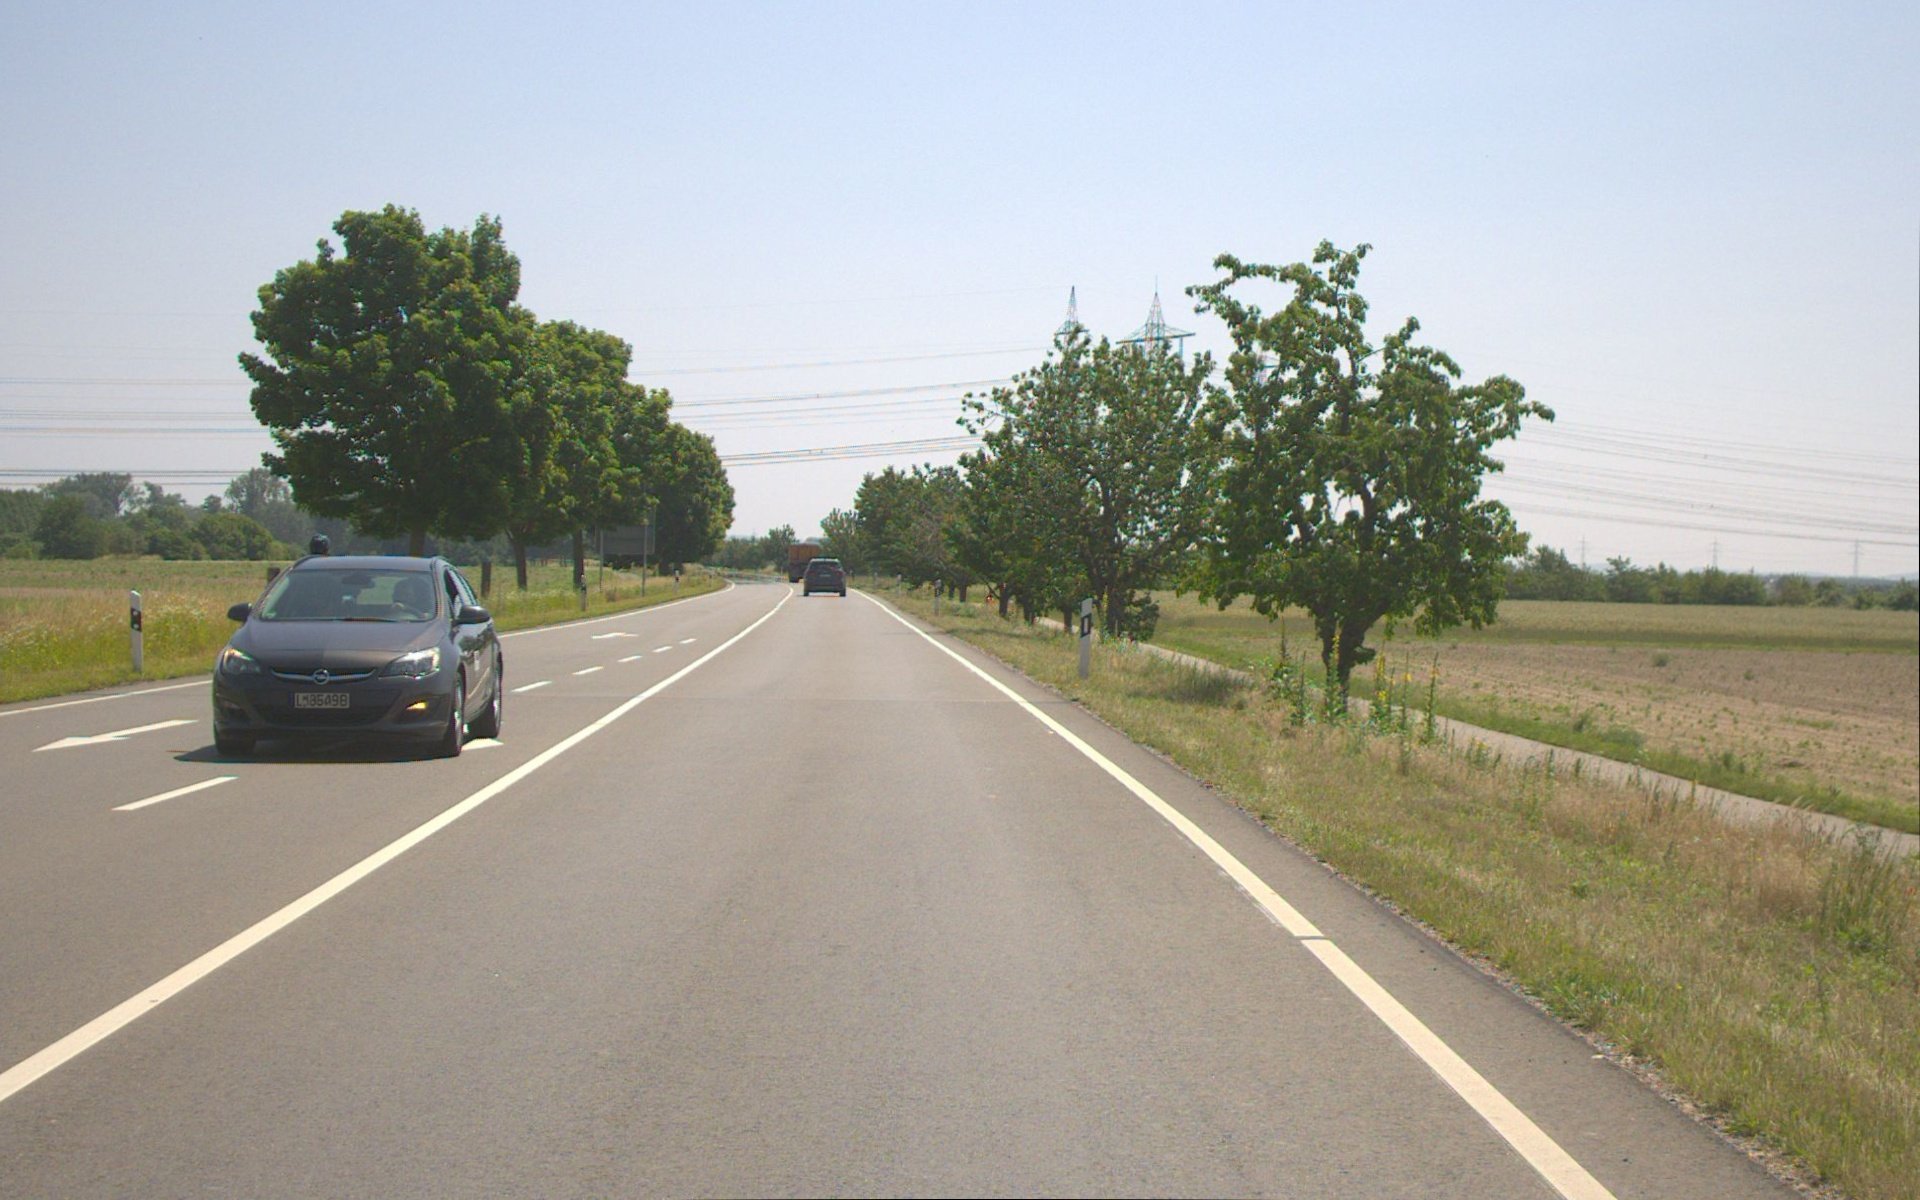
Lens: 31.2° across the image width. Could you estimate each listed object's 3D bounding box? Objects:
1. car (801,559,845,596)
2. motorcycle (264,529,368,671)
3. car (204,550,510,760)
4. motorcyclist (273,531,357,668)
[{"bbox_3d":[-6.149,-1.011,154.234,1.884,1.513,4.040,4,1,-3],"label":"car"},{"bbox_3d":[-8.170,-0.014,43.685,0.888,1.737,2.445,1,1,-1],"label":"motorcycle"},{"bbox_3d":[-4.555,0.359,26.556,1.739,1.468,4.619,1,1,-3],"label":"car"},{"bbox_3d":[-8.154,-0.012,43.498,0.853,1.715,1.088,1,1,0],"label":"motorcyclist"}]
